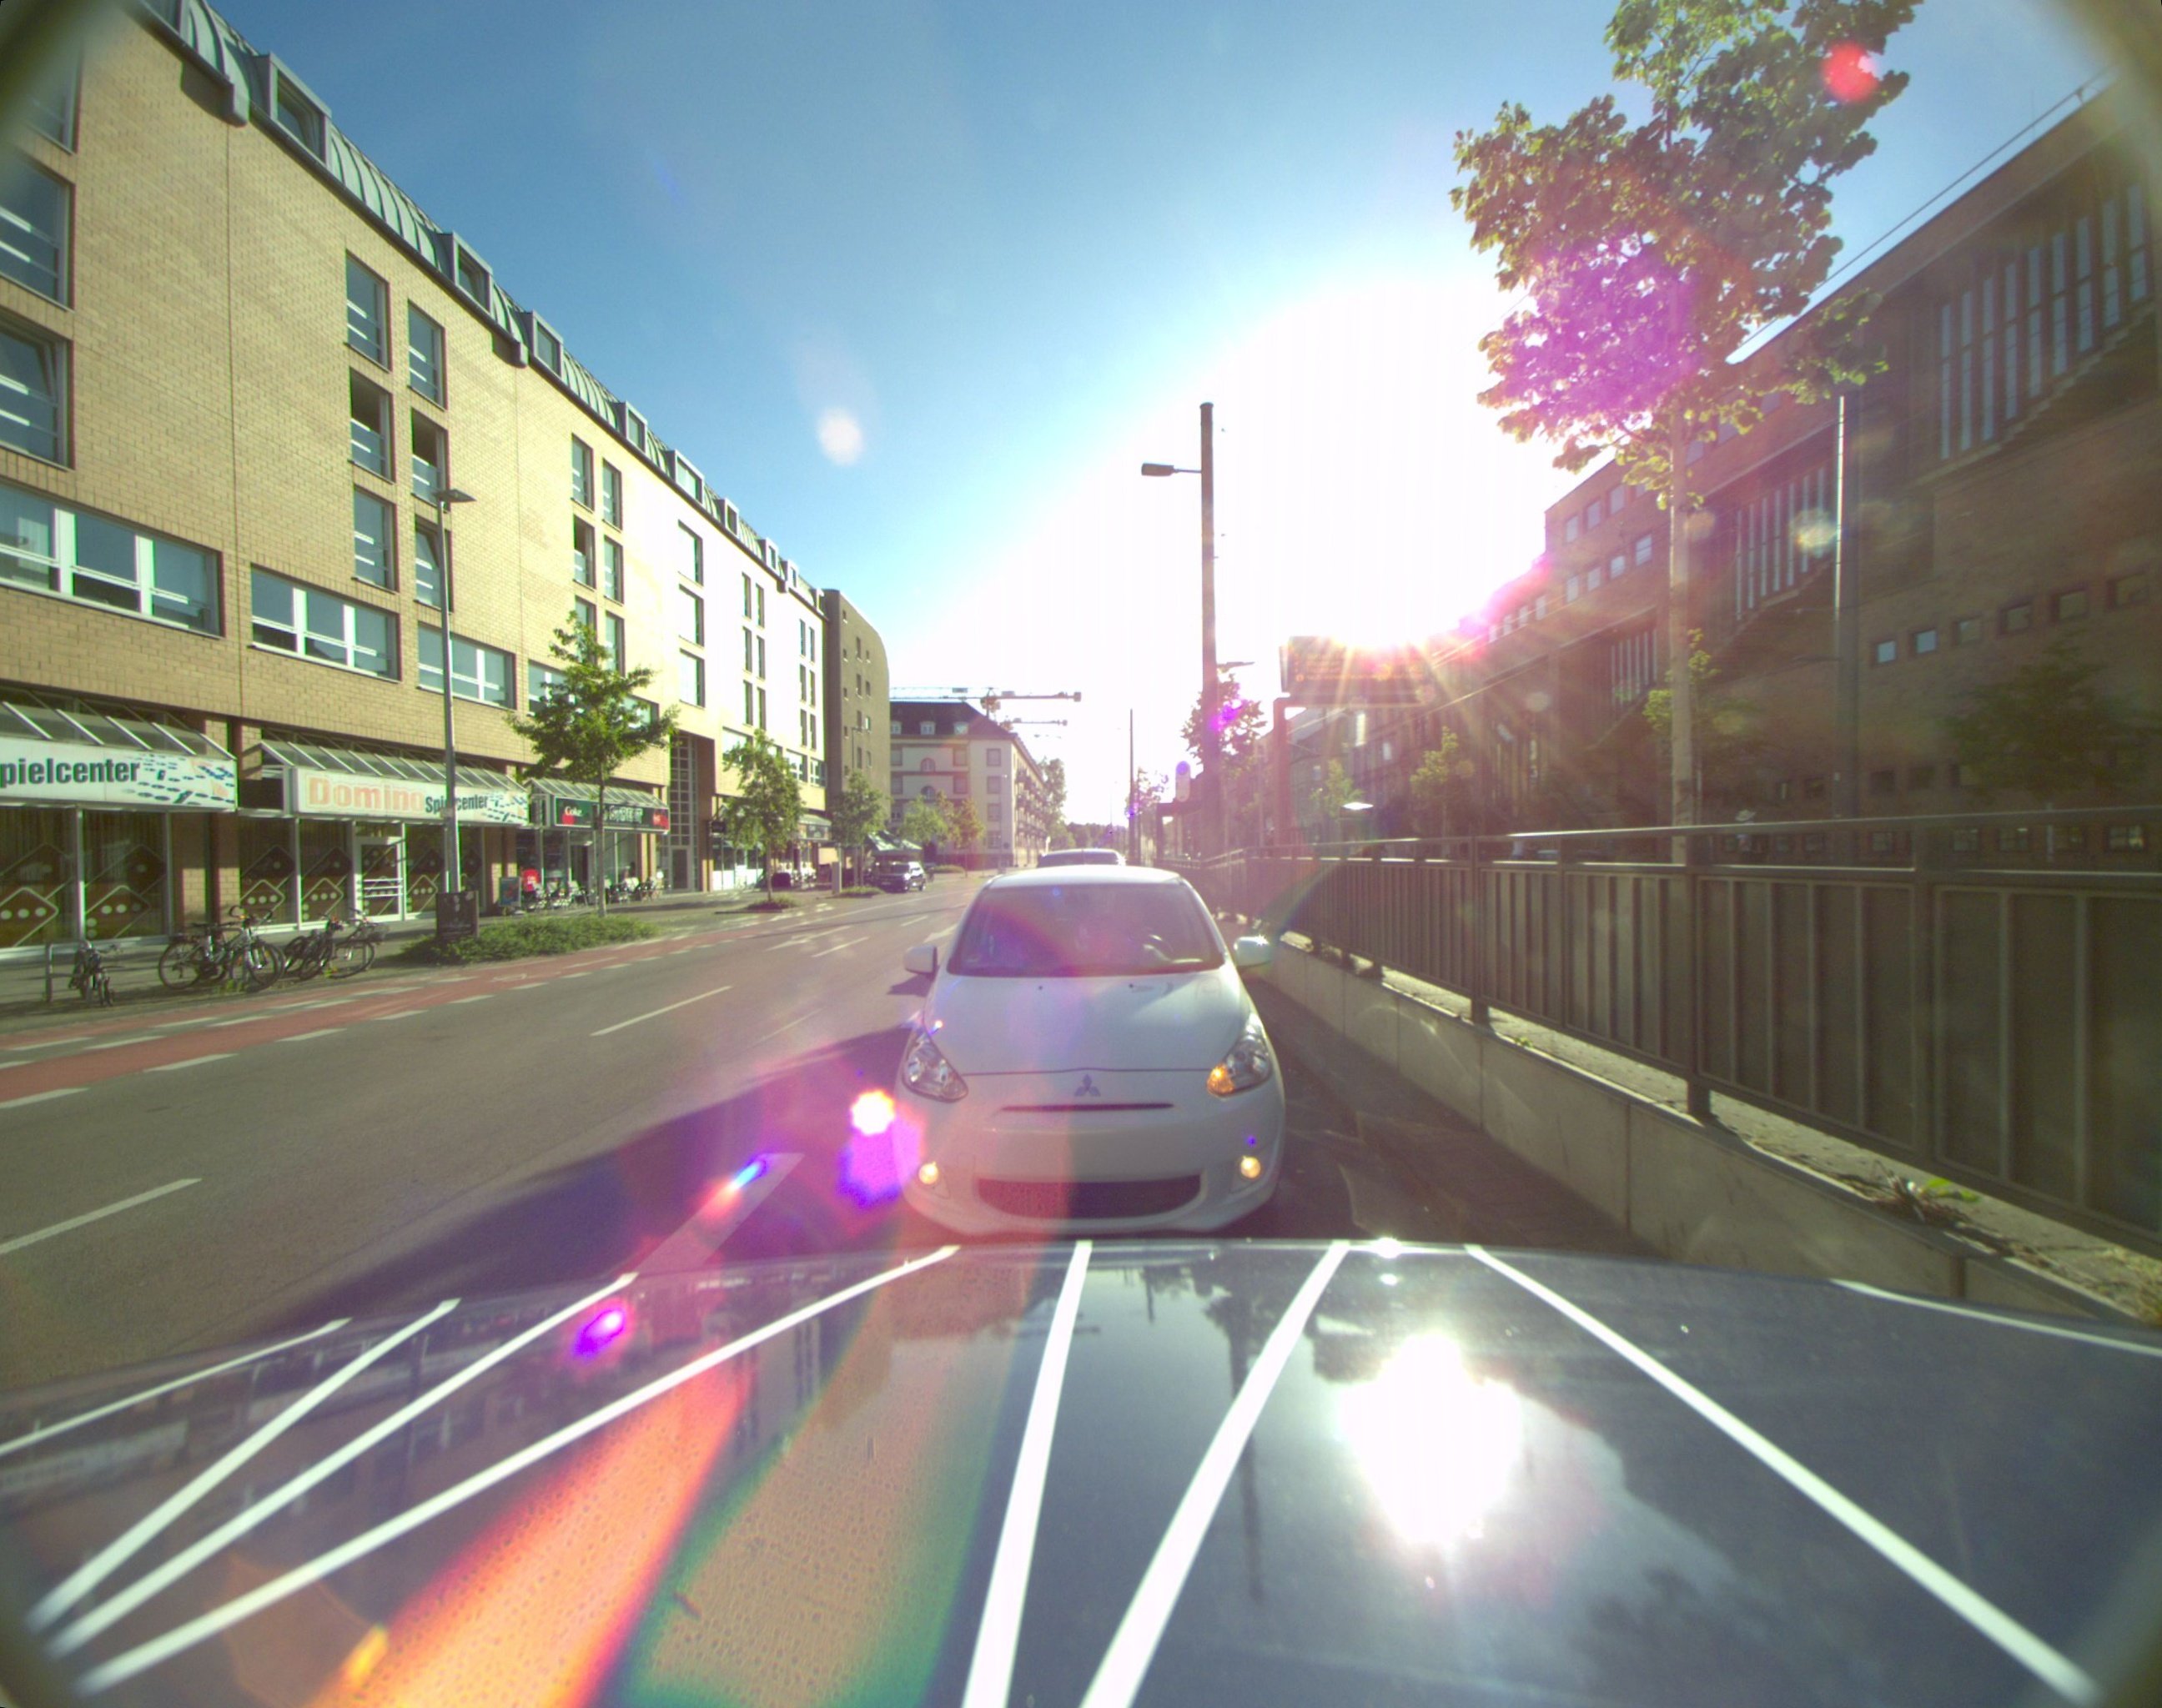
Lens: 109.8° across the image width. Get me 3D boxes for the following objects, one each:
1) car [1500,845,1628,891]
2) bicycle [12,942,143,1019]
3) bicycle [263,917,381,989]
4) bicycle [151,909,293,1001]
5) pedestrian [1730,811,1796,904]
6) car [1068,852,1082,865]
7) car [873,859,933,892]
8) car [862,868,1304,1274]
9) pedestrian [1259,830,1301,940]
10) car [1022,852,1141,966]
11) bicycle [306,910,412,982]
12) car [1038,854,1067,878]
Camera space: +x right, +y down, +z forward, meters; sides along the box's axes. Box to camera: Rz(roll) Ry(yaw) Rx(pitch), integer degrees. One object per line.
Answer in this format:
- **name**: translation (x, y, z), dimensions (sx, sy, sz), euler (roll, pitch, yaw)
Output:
- **car**: translation (17.955, 0.462, 28.566), dimensions (1.830, 1.559, 4.693), euler (0, 1, 0)
- **bicycle**: translation (-12.993, 1.616, 9.835), dimensions (1.772, 0.827, 0.366), euler (1, 2, 15)
- **bicycle**: translation (-12.020, 1.544, 12.030), dimensions (1.835, 0.980, 0.449), euler (1, 2, 15)
- **bicycle**: translation (-12.355, 1.425, 10.931), dimensions (1.835, 1.156, 0.565), euler (1, 2, 15)
- **pedestrian**: translation (13.542, 0.066, 15.107), dimensions (0.685, 1.797, 0.668), euler (-2, 2, 0)
- **car**: translation (-0.952, 0.693, 124.615), dimensions (2.164, 1.904, 4.472), euler (-2, 0, 0)
- **car**: translation (-9.698, 1.112, 41.620), dimensions (1.778, 1.630, 4.002), euler (1, 1, 9)
- **car**: translation (0.007, 0.914, 5.163), dimensions (1.720, 1.422, 4.215), euler (-2, 1, 0)
- **pedestrian**: translation (4.479, 0.684, 17.146), dimensions (0.684, 2.428, 0.626), euler (-2, 2, -2)
- **car**: translation (0.001, 0.818, 13.512), dimensions (1.720, 1.591, 4.215), euler (-2, 1, 0)
- **bicycle**: translation (-11.889, 1.490, 12.507), dimensions (1.835, 1.050, 0.350), euler (1, 2, 15)
- **car**: translation (-2.074, 0.862, 55.708), dimensions (1.808, 1.586, 4.453), euler (-3, 0, 1)
